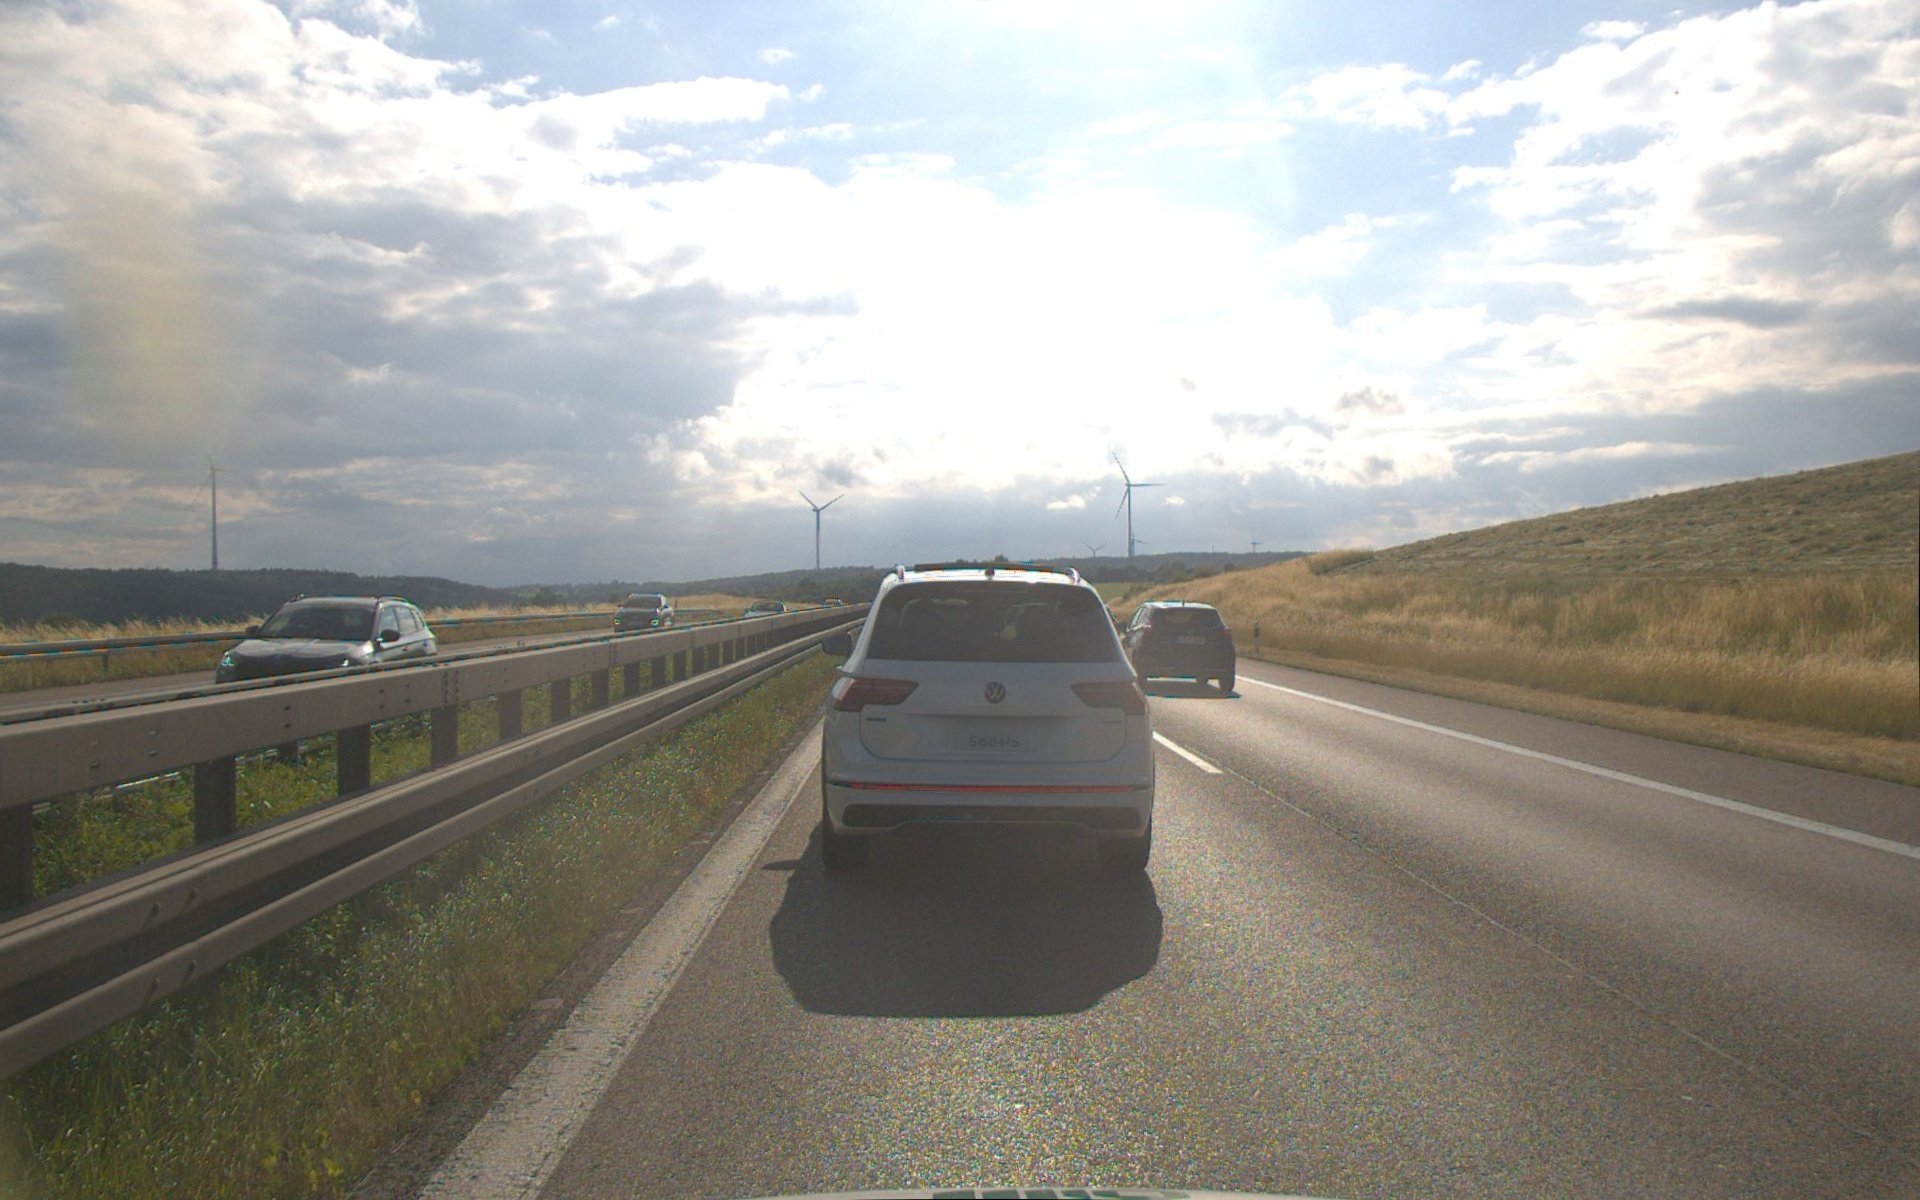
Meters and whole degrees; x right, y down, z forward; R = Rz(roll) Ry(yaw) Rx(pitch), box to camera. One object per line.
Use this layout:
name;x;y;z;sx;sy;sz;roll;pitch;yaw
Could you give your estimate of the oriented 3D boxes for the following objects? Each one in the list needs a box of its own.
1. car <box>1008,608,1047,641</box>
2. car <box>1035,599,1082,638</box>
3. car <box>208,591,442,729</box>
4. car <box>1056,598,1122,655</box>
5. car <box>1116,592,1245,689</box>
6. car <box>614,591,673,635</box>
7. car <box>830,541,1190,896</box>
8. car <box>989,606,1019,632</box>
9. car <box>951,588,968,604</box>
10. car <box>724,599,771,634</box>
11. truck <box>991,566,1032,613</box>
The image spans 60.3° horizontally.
car;3.359;1.194;82.614;1.669;1.573;3.999;1;0;-1
car;4.125;0.754;69.924;1.669;1.573;3.999;1;0;-1
car;-8.154;0.725;21.621;1.583;1.613;4.063;1;0;-2
car;3.977;0.816;51.548;1.669;1.679;3.999;1;0;-1
car;3.833;0.687;29.296;1.669;1.573;3.999;1;0;-1
car;-11.895;0.483;62.334;1.583;1.547;3.998;1;0;-2
car;0.213;0.591;10.063;1.734;1.705;3.999;1;0;-1
car;2.746;1.194;103.456;1.669;1.573;3.999;1;0;-1
car;-0.063;-0.376;162.827;1.669;1.573;3.999;1;0;-1
car;-8.905;0.690;69.550;1.583;1.416;3.998;1;0;-2
truck;4.215;-0.845;137.116;3.118;3.656;11.131;1;0;1
